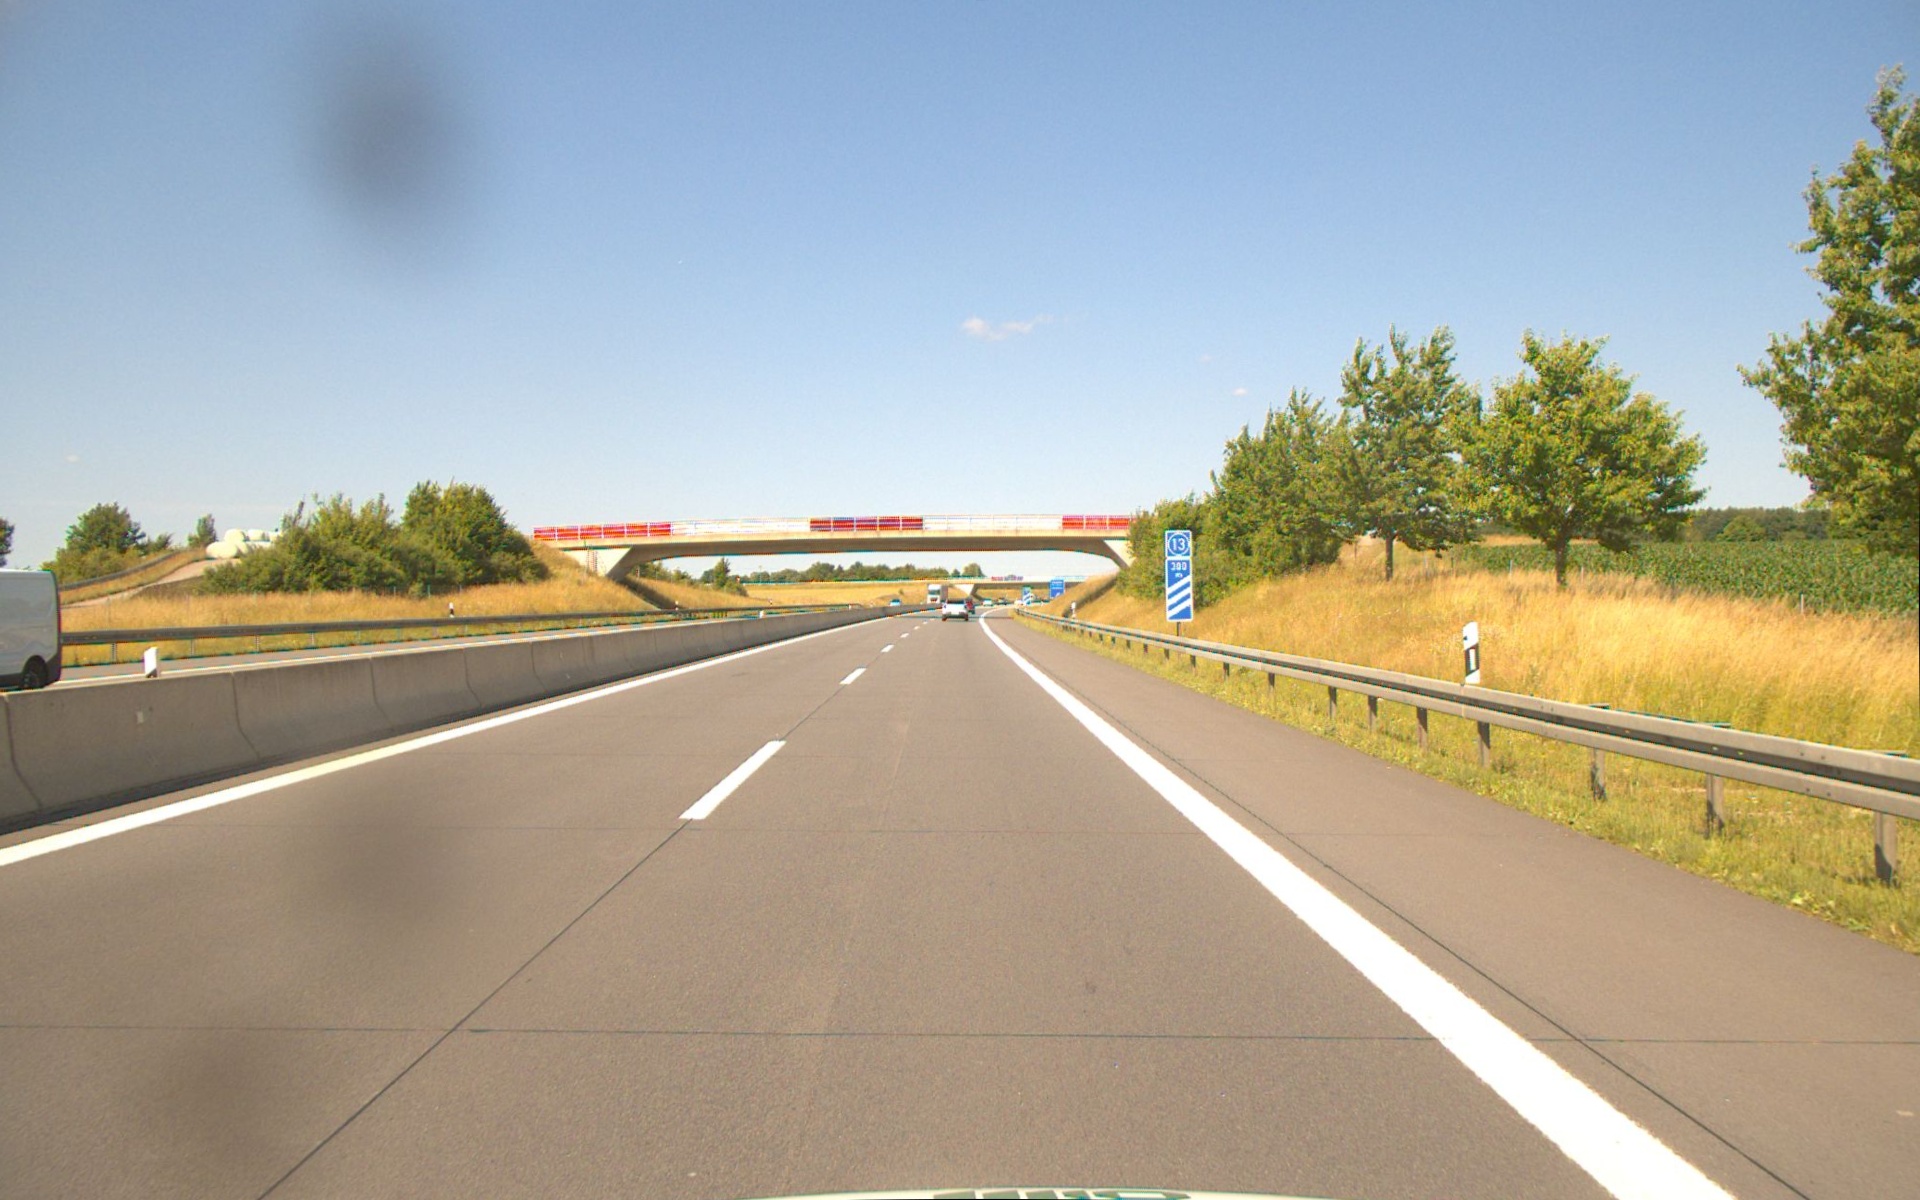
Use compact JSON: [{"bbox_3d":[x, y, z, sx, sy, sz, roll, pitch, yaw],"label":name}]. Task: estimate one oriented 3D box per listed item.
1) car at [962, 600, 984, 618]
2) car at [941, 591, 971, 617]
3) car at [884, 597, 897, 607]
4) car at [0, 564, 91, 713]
[{"bbox_3d":[1.333,0.854,166.946,1.952,1.761,4.870,-1,0,2],"label":"car"},{"bbox_3d":[-0.305,0.262,114.576,1.953,1.761,4.868,-1,0,-1],"label":"car"},{"bbox_3d":[-10.475,0.268,249.201,1.625,1.478,4.001,0,0,2],"label":"car"},{"bbox_3d":[-14.130,0.495,22.244,1.953,2.049,5.713,1,-1,-2],"label":"car"}]
